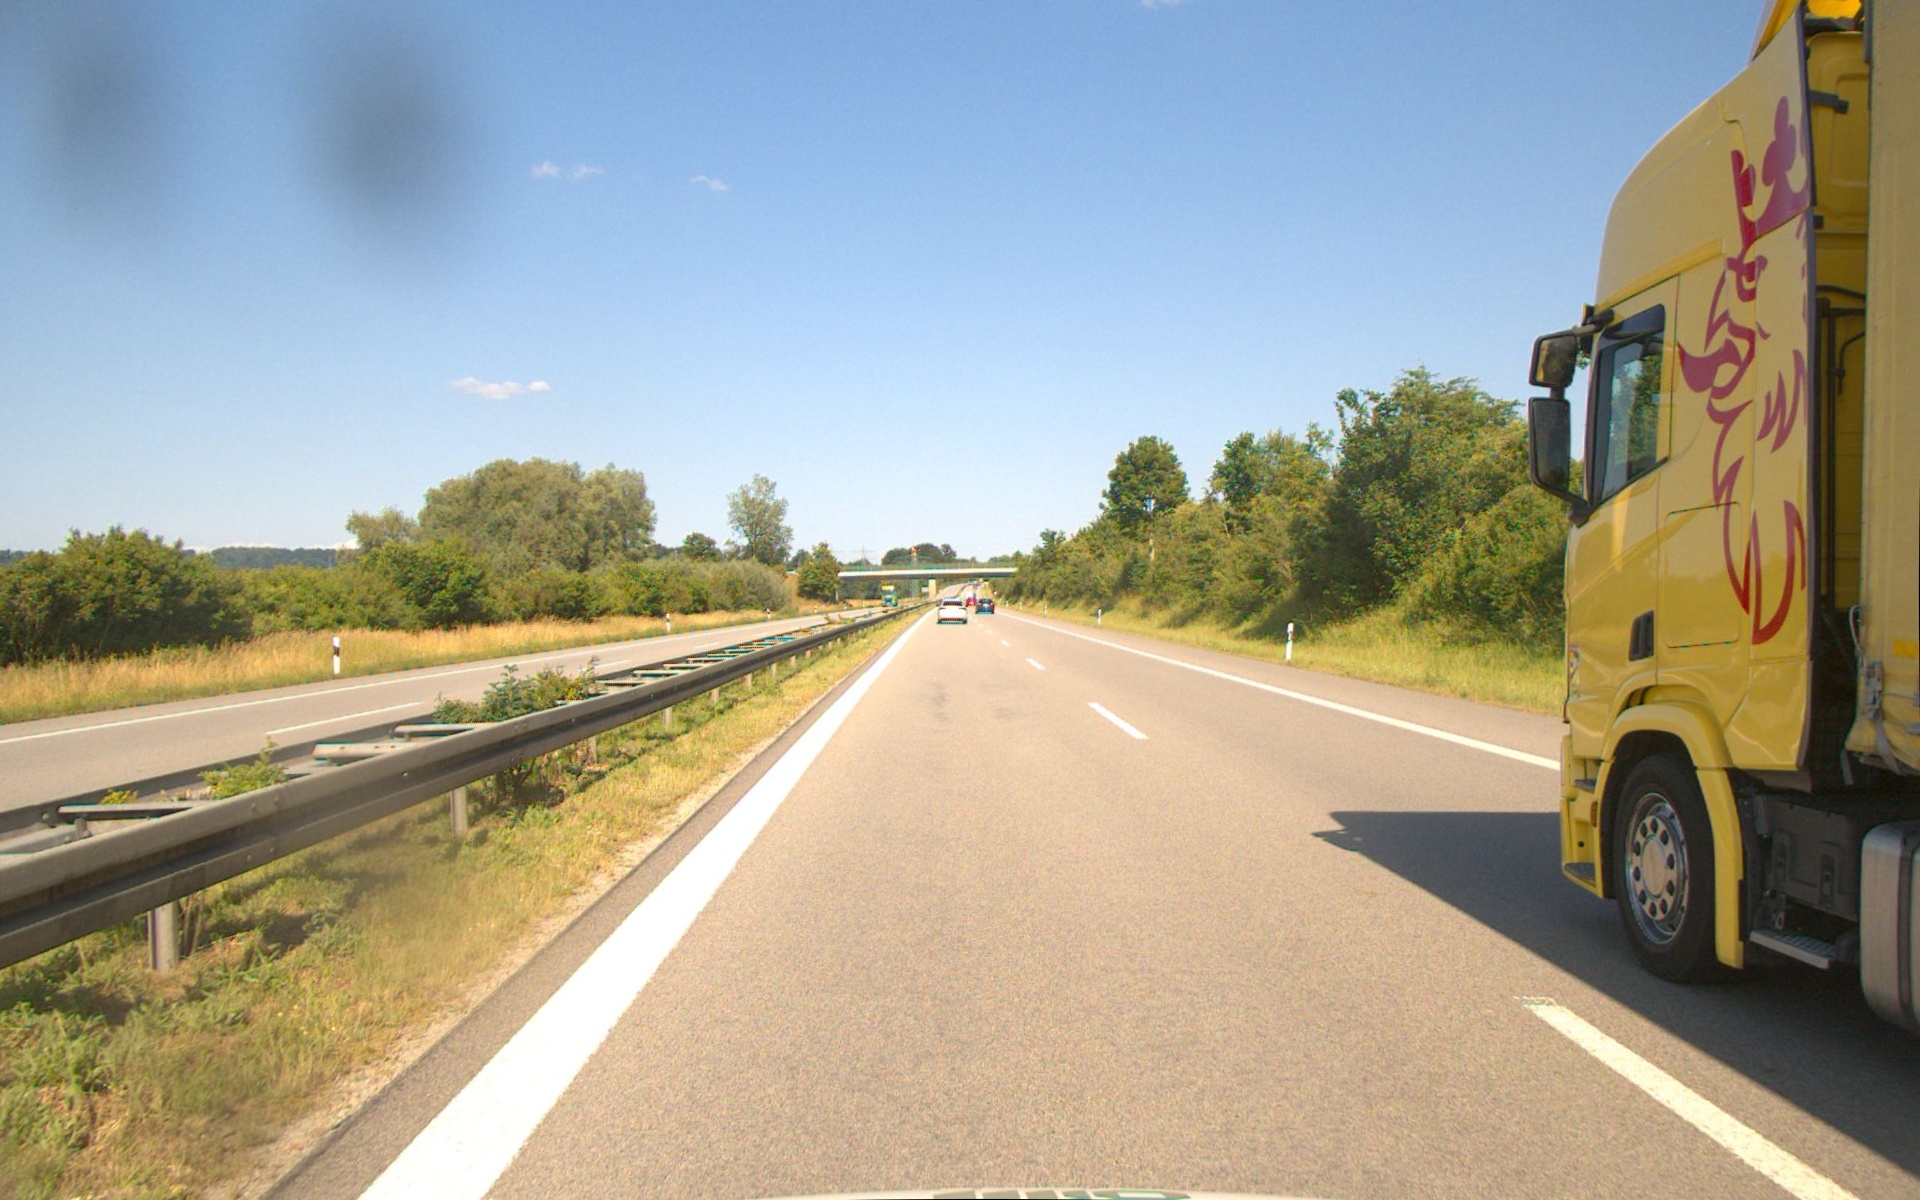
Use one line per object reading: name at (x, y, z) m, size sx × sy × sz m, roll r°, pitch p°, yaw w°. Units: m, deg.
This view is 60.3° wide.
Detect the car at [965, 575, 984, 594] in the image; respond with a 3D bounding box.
car at (1.565, -1.690, 183.031) m, size 1.953 × 2.049 × 3.999 m, roll 1°, pitch 0°, yaw -1°

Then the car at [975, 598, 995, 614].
car at (2.418, 0.600, 162.023) m, size 1.805 × 1.546 × 3.999 m, roll 1°, pitch 0°, yaw 0°

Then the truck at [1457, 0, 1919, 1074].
truck at (4.312, -0.702, 5.593) m, size 3.105 × 4.186 × 6.385 m, roll 1°, pitch 0°, yaw -2°

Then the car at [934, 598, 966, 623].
car at (-0.589, 0.600, 97.764) m, size 1.805 × 1.440 × 3.999 m, roll 1°, pitch 0°, yaw 0°
